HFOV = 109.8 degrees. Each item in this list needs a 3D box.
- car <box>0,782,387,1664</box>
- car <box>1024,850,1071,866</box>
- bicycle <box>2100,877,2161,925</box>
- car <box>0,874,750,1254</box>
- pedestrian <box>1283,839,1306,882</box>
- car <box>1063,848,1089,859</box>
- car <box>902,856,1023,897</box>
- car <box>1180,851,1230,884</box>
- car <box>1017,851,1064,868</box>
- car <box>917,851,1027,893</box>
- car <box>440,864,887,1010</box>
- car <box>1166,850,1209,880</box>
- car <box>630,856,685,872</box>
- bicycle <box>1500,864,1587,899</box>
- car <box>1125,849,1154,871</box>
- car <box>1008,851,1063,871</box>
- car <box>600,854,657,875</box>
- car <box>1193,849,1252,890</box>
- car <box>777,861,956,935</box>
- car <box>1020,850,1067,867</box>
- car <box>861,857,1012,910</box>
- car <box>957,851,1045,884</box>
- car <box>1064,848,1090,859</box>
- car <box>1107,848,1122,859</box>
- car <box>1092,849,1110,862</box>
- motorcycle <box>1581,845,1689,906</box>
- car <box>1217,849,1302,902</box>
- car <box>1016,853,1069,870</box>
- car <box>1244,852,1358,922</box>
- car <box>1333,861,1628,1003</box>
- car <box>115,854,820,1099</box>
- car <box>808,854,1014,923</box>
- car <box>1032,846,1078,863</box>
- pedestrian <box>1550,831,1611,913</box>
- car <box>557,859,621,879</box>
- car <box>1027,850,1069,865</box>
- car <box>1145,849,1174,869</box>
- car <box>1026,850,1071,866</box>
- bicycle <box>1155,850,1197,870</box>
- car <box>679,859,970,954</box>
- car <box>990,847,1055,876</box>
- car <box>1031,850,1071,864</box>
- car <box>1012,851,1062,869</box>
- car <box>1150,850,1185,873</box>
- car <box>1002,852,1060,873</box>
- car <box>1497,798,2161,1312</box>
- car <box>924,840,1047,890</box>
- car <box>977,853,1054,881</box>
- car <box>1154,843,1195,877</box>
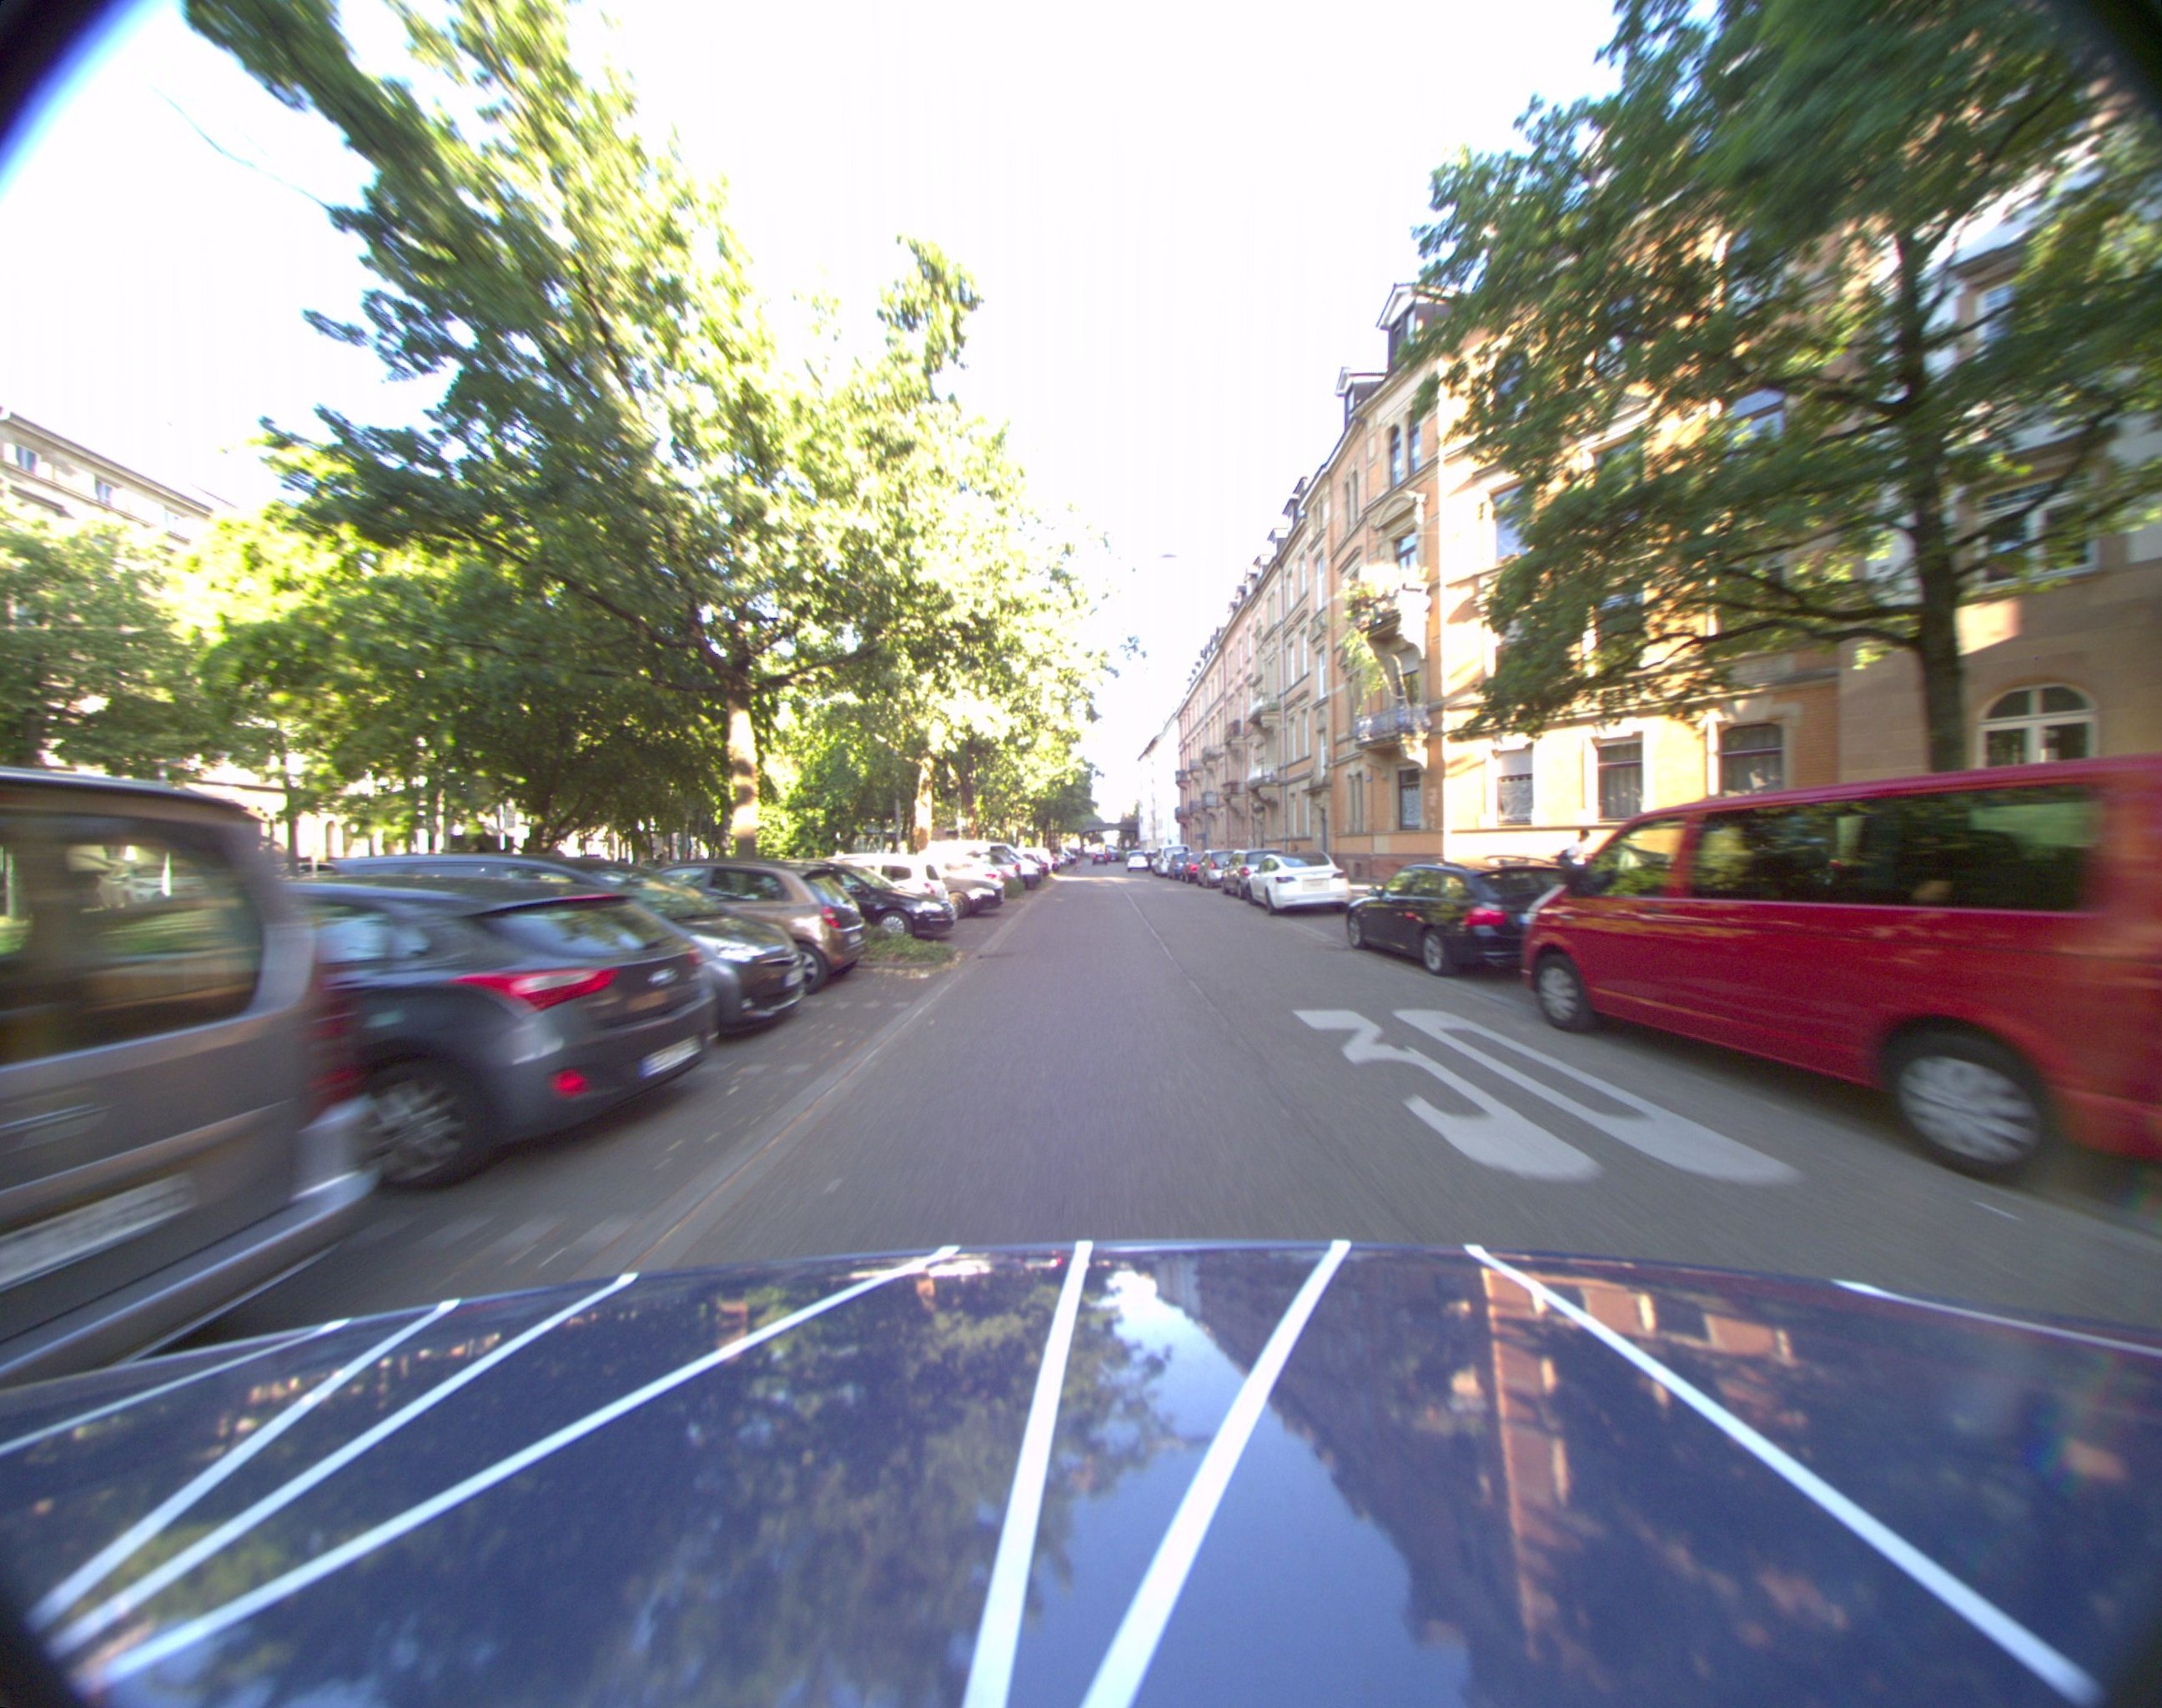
[{"bbox_3d":[-4.622,0.826,1.617,4.549,1.904,1.950,-1,2,3],"label":"car"},{"bbox_3d":[-3.124,0.390,71.599,4.263,1.480,1.684,0,1,1],"label":"car"},{"bbox_3d":[17.097,0.741,11.799,0.369,0.728,1.506,-2,1,-35],"label":"bicycle"},{"bbox_3d":[-4.635,0.968,4.389,4.549,1.563,1.950,-1,2,3],"label":"car"},{"bbox_3d":[8.775,0.253,31.204,0.675,1.708,0.722,-3,1,2],"label":"pedestrian"},{"bbox_3d":[-0.897,-0.046,133.187,4.389,1.676,1.882,-3,1,1],"label":"car"},{"bbox_3d":[-4.141,0.772,27.030,3.996,1.415,1.684,0,1,1],"label":"car"},{"bbox_3d":[5.715,0.579,35.449,1.767,1.375,4.290,-3,0,2],"label":"car"},{"bbox_3d":[-3.529,0.455,66.839,3.996,1.480,1.684,0,1,1],"label":"car"},{"bbox_3d":[-4.159,0.682,29.346,3.997,1.571,1.765,0,1,-1],"label":"car"},{"bbox_3d":[-5.018,0.971,9.594,4.549,1.563,1.950,-1,2,3],"label":"car"},{"bbox_3d":[5.629,0.536,40.509,1.767,1.430,3.888,-3,0,1],"label":"car"},{"bbox_3d":[-34.343,0.791,61.613,3.990,1.271,1.751,0,1,22],"label":"car"},{"bbox_3d":[11.994,0.699,19.764,0.526,0.843,1.894,-1,0,-34],"label":"bicycle"},{"bbox_3d":[4.475,0.429,58.191,1.880,1.527,4.392,-3,0,1],"label":"car"},{"bbox_3d":[-3.365,0.538,57.073,3.996,1.480,1.684,0,1,1],"label":"car"},{"bbox_3d":[-38.869,0.912,65.326,3.994,1.756,1.749,0,1,8],"label":"car"},{"bbox_3d":[5.570,0.564,30.197,1.688,1.467,3.709,-3,0,2],"label":"car"},{"bbox_3d":[-4.647,0.932,16.809,3.406,1.505,1.719,-1,0,3],"label":"car"},{"bbox_3d":[-3.406,0.406,69.316,4.130,1.513,1.684,0,1,1],"label":"car"},{"bbox_3d":[-4.104,0.837,21.976,3.996,1.452,1.684,0,1,1],"label":"car"},{"bbox_3d":[-3.779,0.641,36.359,3.996,1.545,1.684,0,1,1],"label":"car"},{"bbox_3d":[-0.707,-0.035,130.918,4.389,1.676,1.882,-3,1,1],"label":"car"},{"bbox_3d":[4.698,-0.070,106.314,1.880,1.433,4.392,-3,0,1],"label":"car"},{"bbox_3d":[2.323,0.154,89.019,1.881,1.422,4.392,-3,0,-1],"label":"car"},{"bbox_3d":[13.019,0.494,17.914,0.811,1.345,1.894,-1,0,-34],"label":"motorcycle"},{"bbox_3d":[5.540,0.621,24.077,1.688,1.467,3.881,-3,0,-1],"label":"car"},{"bbox_3d":[-2.975,0.575,58.909,3.996,1.331,1.684,0,1,1],"label":"car"},{"bbox_3d":[5.371,0.724,19.089,1.780,1.467,4.271,-3,0,3],"label":"car"},{"bbox_3d":[5.144,0.885,10.559,1.781,1.425,4.270,-3,0,0],"label":"car"},{"bbox_3d":[-4.858,0.900,6.693,4.448,1.682,1.949,-1,2,-5],"label":"car"},{"bbox_3d":[-4.198,0.836,19.325,4.711,1.563,2.000,-1,2,3],"label":"car"},{"bbox_3d":[-2.889,0.042,85.869,5.095,1.831,1.832,0,1,1],"label":"car"},{"bbox_3d":[10.997,0.384,16.729,0.676,1.708,0.909,-6,3,-41],"label":"pedestrian"},{"bbox_3d":[-34.470,1.039,53.263,3.990,1.271,1.751,0,1,22],"label":"car"},{"bbox_3d":[-3.307,0.350,76.573,4.130,1.480,1.684,0,1,1],"label":"car"},{"bbox_3d":[6.299,0.373,61.151,1.880,1.433,4.392,-3,0,1],"label":"car"},{"bbox_3d":[-3.117,0.368,73.904,4.263,1.480,1.684,0,1,1],"label":"car"},{"bbox_3d":[7.016,0.453,56.053,3.043,1.476,0.817,0,1,2],"label":"bicycle"},{"bbox_3d":[-4.639,0.930,14.228,4.711,1.563,2.000,-1,2,3],"label":"car"},{"bbox_3d":[-3.745,0.462,48.874,3.996,1.822,1.684,0,1,1],"label":"car"},{"bbox_3d":[-3.203,0.302,81.222,4.130,1.480,1.684,0,1,1],"label":"car"},{"bbox_3d":[-3.562,0.498,62.414,3.996,1.480,1.684,0,1,1],"label":"car"},{"bbox_3d":[5.861,0.481,51.884,1.880,1.433,4.392,-3,0,1],"label":"car"},{"bbox_3d":[-3.551,0.572,54.326,3.996,1.480,1.684,0,1,1],"label":"car"},{"bbox_3d":[4.885,0.703,4.831,1.781,1.922,4.772,-3,0,0],"label":"car"},{"bbox_3d":[-3.926,0.436,31.978,4.856,2.026,2.155,0,1,1],"label":"car"},{"bbox_3d":[-3.525,0.682,41.471,3.996,1.480,1.684,0,1,1],"label":"car"},{"bbox_3d":[5.611,0.328,46.140,1.912,1.872,4.725,-3,0,1],"label":"car"}]
